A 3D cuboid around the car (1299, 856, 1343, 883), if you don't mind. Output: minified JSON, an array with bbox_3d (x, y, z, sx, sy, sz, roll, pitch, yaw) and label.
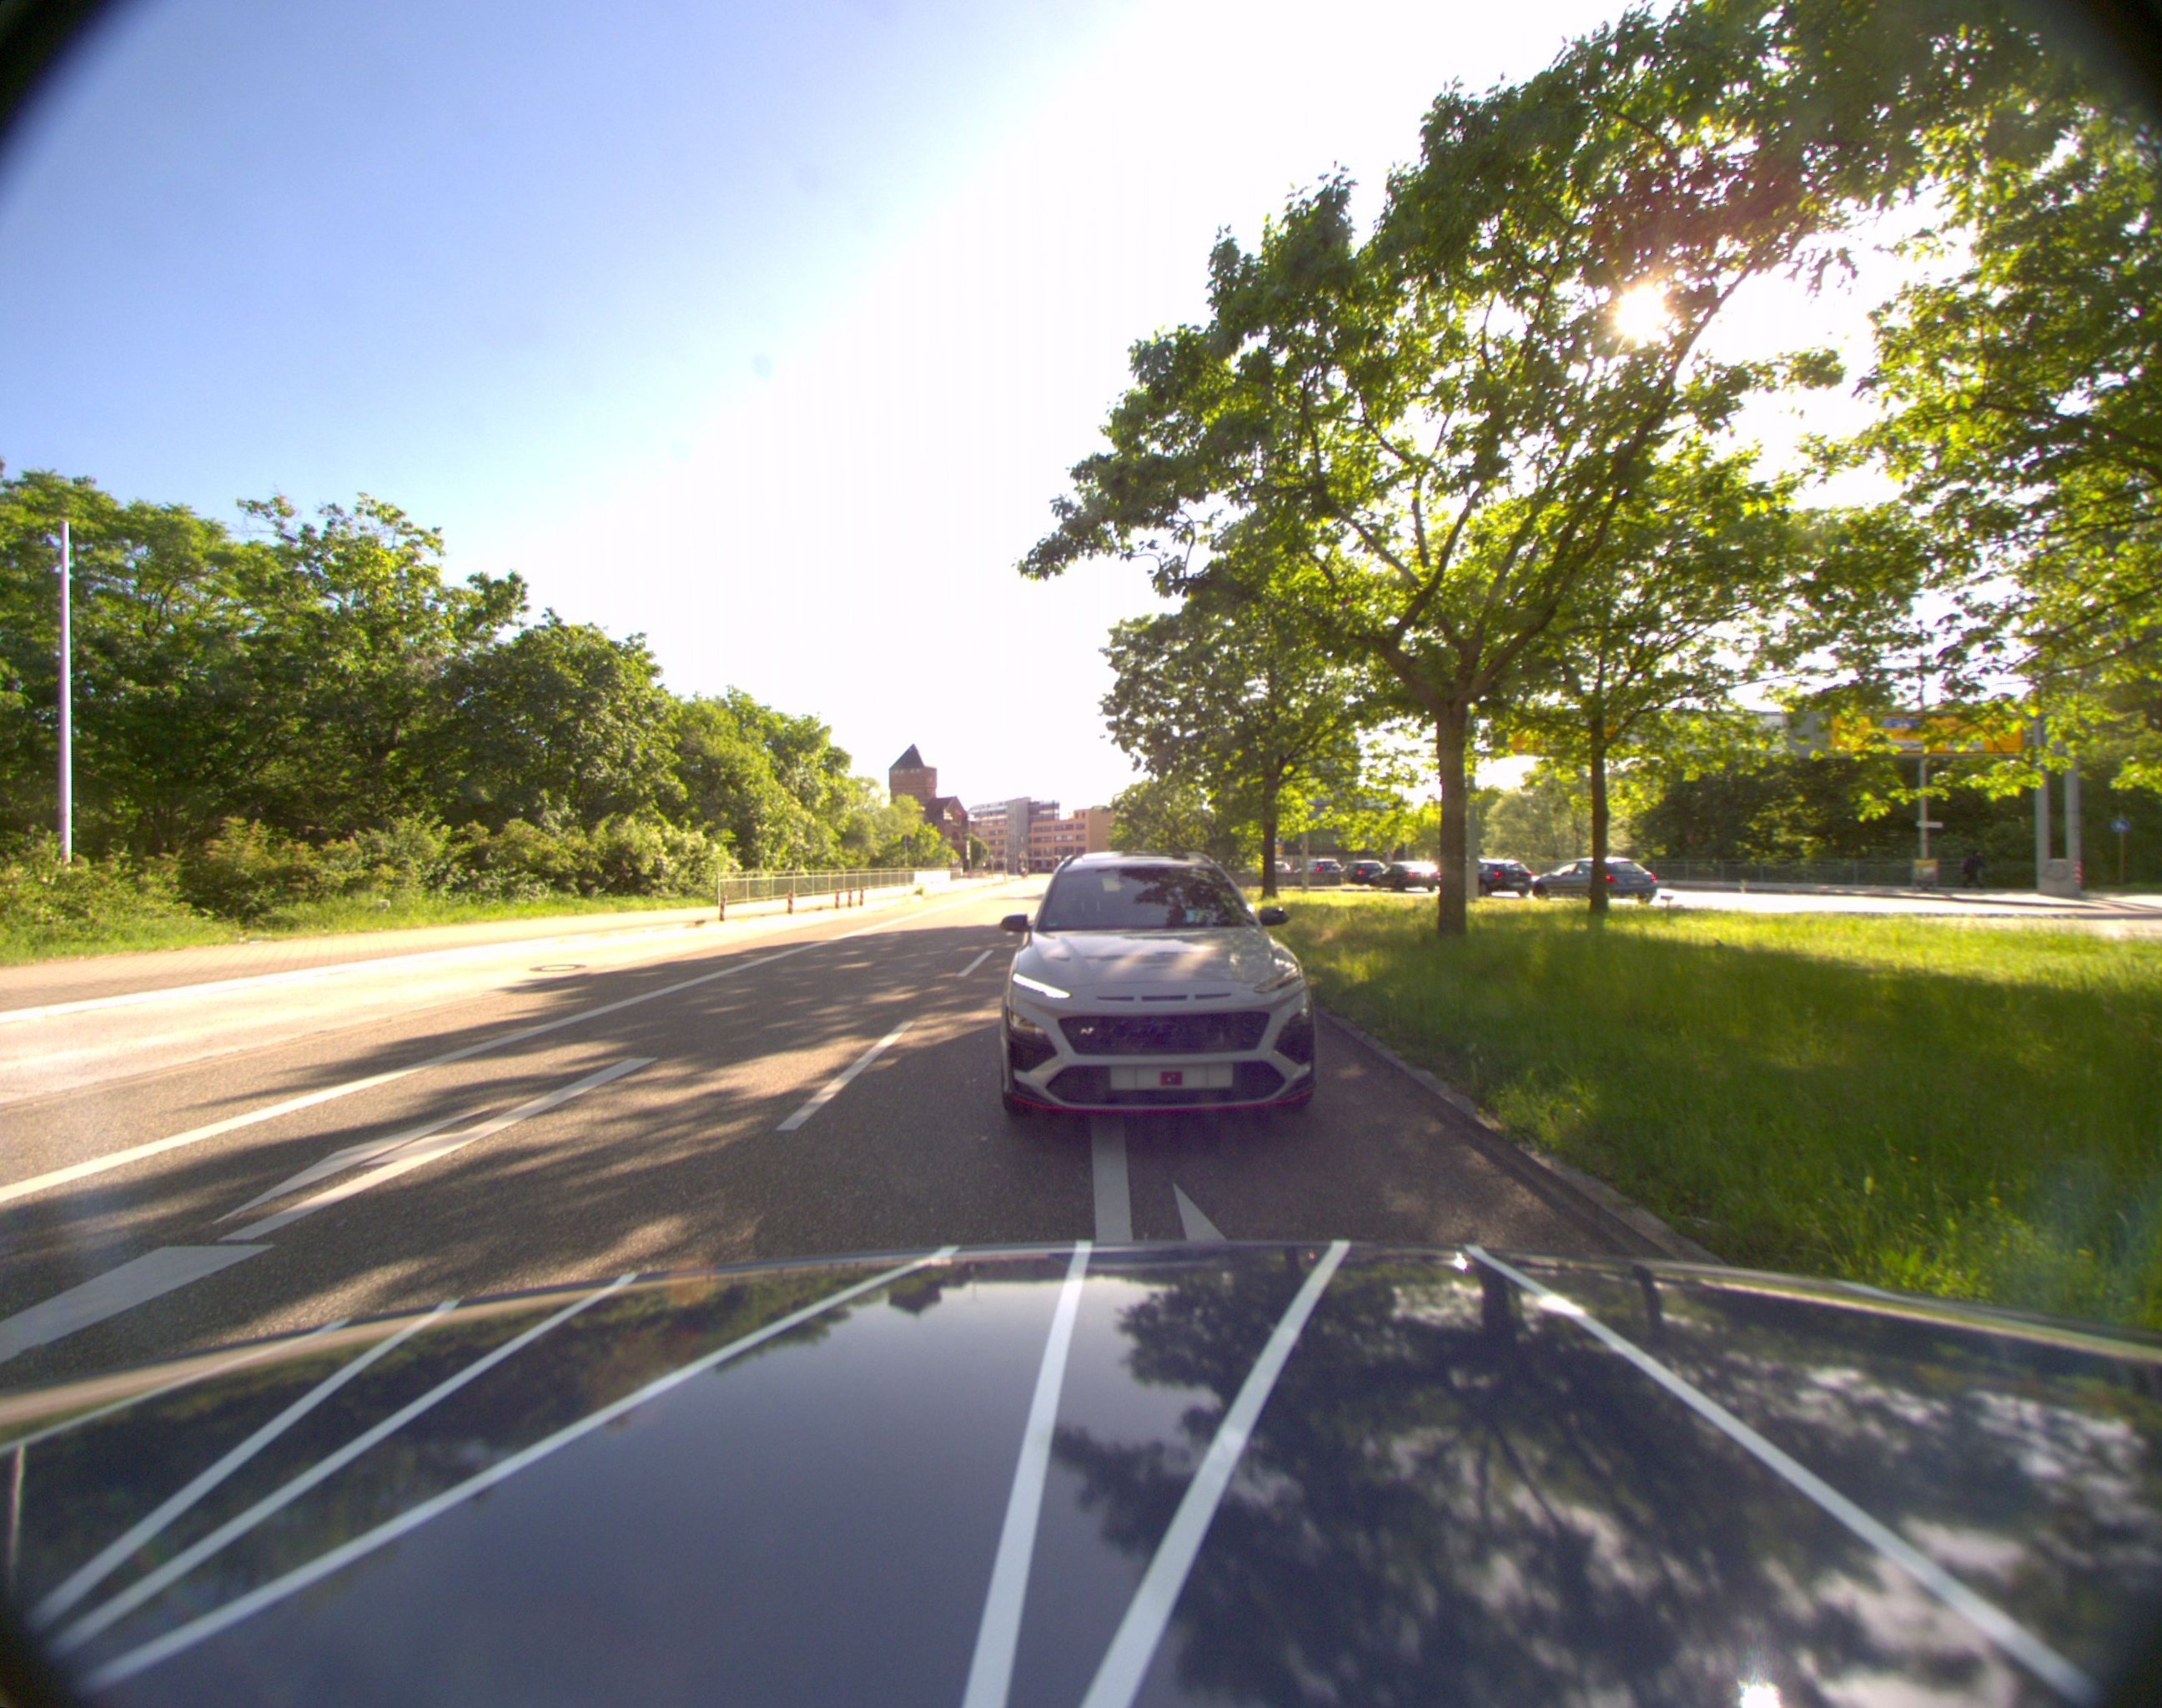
[{"bbox_3d":[14.963,0.992,47.565,1.450,1.549,3.202,-1,-2,-6],"label":"car"}]

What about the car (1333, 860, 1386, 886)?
[{"bbox_3d":[15.147,1.032,41.476,1.481,1.331,3.202,-1,-1,-6],"label":"car"}]

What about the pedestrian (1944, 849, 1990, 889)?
[{"bbox_3d":[36.335,0.615,31.188,0.912,1.620,0.990,-1,0,27],"label":"pedestrian"}]

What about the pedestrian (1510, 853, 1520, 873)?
[{"bbox_3d":[32.553,0.666,56.980,0.421,1.490,0.545,-1,0,-7],"label":"pedestrian"}]

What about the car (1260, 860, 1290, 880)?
[{"bbox_3d":[14.316,1.207,56.128,1.228,1.331,2.882,-1,-3,-6],"label":"car"}]

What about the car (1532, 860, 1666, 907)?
[{"bbox_3d":[16.386,0.880,24.240,1.561,1.355,3.608,-1,-1,-6],"label":"car"}]

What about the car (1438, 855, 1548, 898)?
[{"bbox_3d":[16.183,0.844,30.146,1.875,1.541,4.221,-1,0,-4],"label":"car"}]

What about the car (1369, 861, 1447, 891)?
[{"bbox_3d":[15.471,0.996,36.219,1.623,1.305,4.066,-1,0,-6],"label":"car"}]

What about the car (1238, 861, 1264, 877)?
[{"bbox_3d":[13.937,1.276,62.340,1.199,1.252,2.768,-1,-2,-6],"label":"car"}]

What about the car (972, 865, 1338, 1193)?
[{"bbox_3d":[0.385,0.881,5.684,1.752,1.523,3.988,-1,0,1],"label":"car"}]
